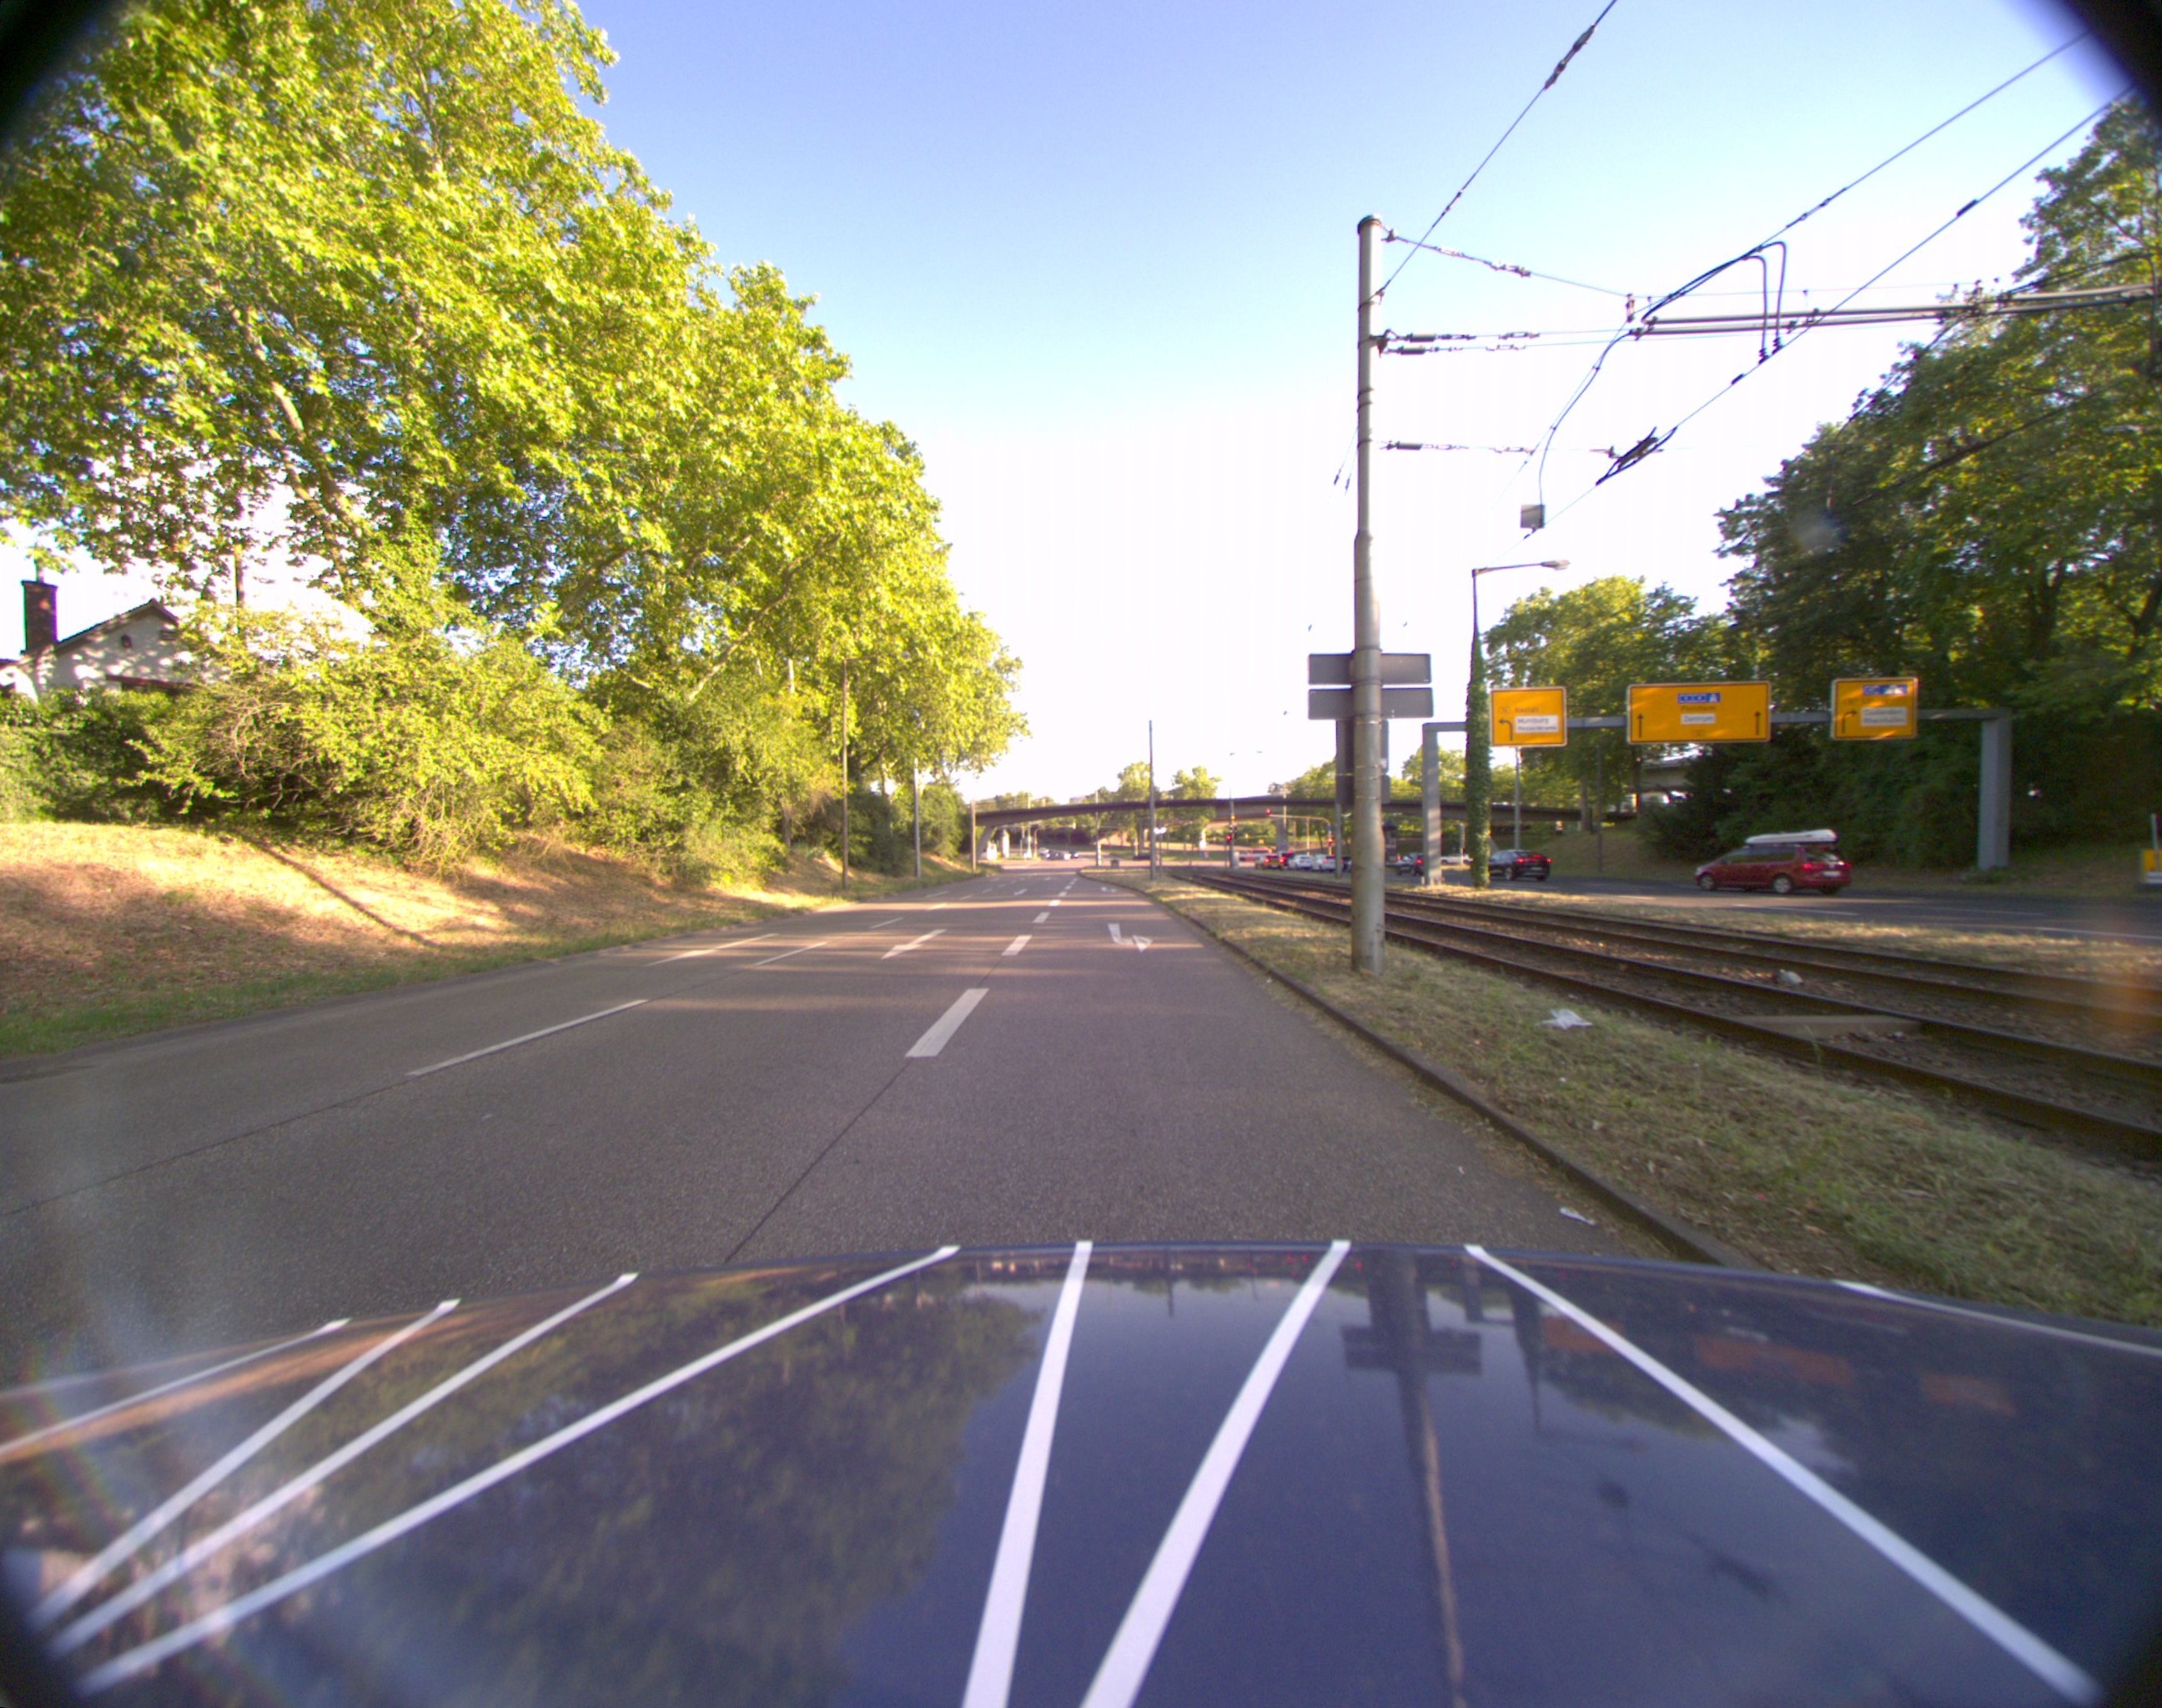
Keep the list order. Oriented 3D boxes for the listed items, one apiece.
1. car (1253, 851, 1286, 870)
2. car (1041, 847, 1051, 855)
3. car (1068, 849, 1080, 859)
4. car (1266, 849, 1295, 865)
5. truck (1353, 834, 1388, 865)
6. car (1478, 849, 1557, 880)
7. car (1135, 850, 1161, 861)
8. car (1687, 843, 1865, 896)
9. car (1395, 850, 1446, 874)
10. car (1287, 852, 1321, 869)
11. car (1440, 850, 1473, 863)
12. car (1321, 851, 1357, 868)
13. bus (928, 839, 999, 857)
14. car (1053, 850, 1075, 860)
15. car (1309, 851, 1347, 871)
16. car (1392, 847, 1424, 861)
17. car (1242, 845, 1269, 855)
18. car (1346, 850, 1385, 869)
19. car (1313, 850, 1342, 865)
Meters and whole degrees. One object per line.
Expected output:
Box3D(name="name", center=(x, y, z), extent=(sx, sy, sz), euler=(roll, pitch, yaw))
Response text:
Box3D(name="car", center=(16.157, 0.508, 65.227), extent=(1.767, 1.535, 4.000), euler=(-1, 0, 0))
Box3D(name="car", center=(-7.716, -0.677, 166.460), extent=(1.684, 1.779, 3.868), euler=(-2, 0, -9))
Box3D(name="car", center=(-1.241, 0.029, 141.872), extent=(1.905, 1.726, 3.998), euler=(-2, 0, -5))
Box3D(name="car", center=(19.592, 0.266, 74.732), extent=(1.917, 1.540, 4.227), euler=(-1, 0, 4))
Box3D(name="truck", center=(28.393, -0.437, 74.789), extent=(2.281, 2.862, 6.887), euler=(-1, 0, 13))
Box3D(name="car", center=(22.787, 0.504, 39.880), extent=(1.735, 1.536, 4.334), euler=(-1, 0, 1))
Box3D(name="car", center=(10.783, 0.211, 122.318), extent=(3.868, 1.655, 1.814), euler=(-2, 1, 21))
Box3D(name="car", center=(23.276, 0.477, 25.706), extent=(1.843, 1.625, 4.309), euler=(0, 0, -5))
Box3D(name="car", center=(23.034, 0.538, 51.697), extent=(1.755, 1.548, 3.973), euler=(0, 0, 1))
Box3D(name="car", center=(19.919, 0.559, 68.075), extent=(1.918, 1.416, 4.227), euler=(-1, 0, 2))
Box3D(name="car", center=(50.681, 0.340, 102.640), extent=(3.804, 1.570, 1.679), euler=(-2, 1, 24))
Box3D(name="car", center=(23.748, 0.499, 70.200), extent=(1.868, 1.416, 4.226), euler=(-1, 0, 0))
Box3D(name="bus", center=(-21.048, -1.079, 135.517), extent=(13.163, 2.846, 2.420), euler=(-2, 1, 22))
Box3D(name="car", center=(-2.893, 0.106, 128.188), extent=(3.364, 1.560, 1.613), euler=(-2, 0, 17))
Box3D(name="car", center=(20.037, 0.543, 61.796), extent=(1.767, 1.535, 4.000), euler=(-1, 0, 0))
Box3D(name="car", center=(44.982, -0.014, 104.590), extent=(3.805, 1.848, 1.679), euler=(-2, 1, 20))
Box3D(name="car", center=(26.807, -0.585, 116.810), extent=(3.868, 1.403, 1.814), euler=(-2, 1, 20))
Box3D(name="car", center=(23.977, 0.428, 64.062), extent=(1.813, 1.535, 4.000), euler=(-1, 0, 1))
Box3D(name="car", center=(24.959, 0.373, 77.158), extent=(1.917, 1.416, 4.228), euler=(-1, 0, 5))
